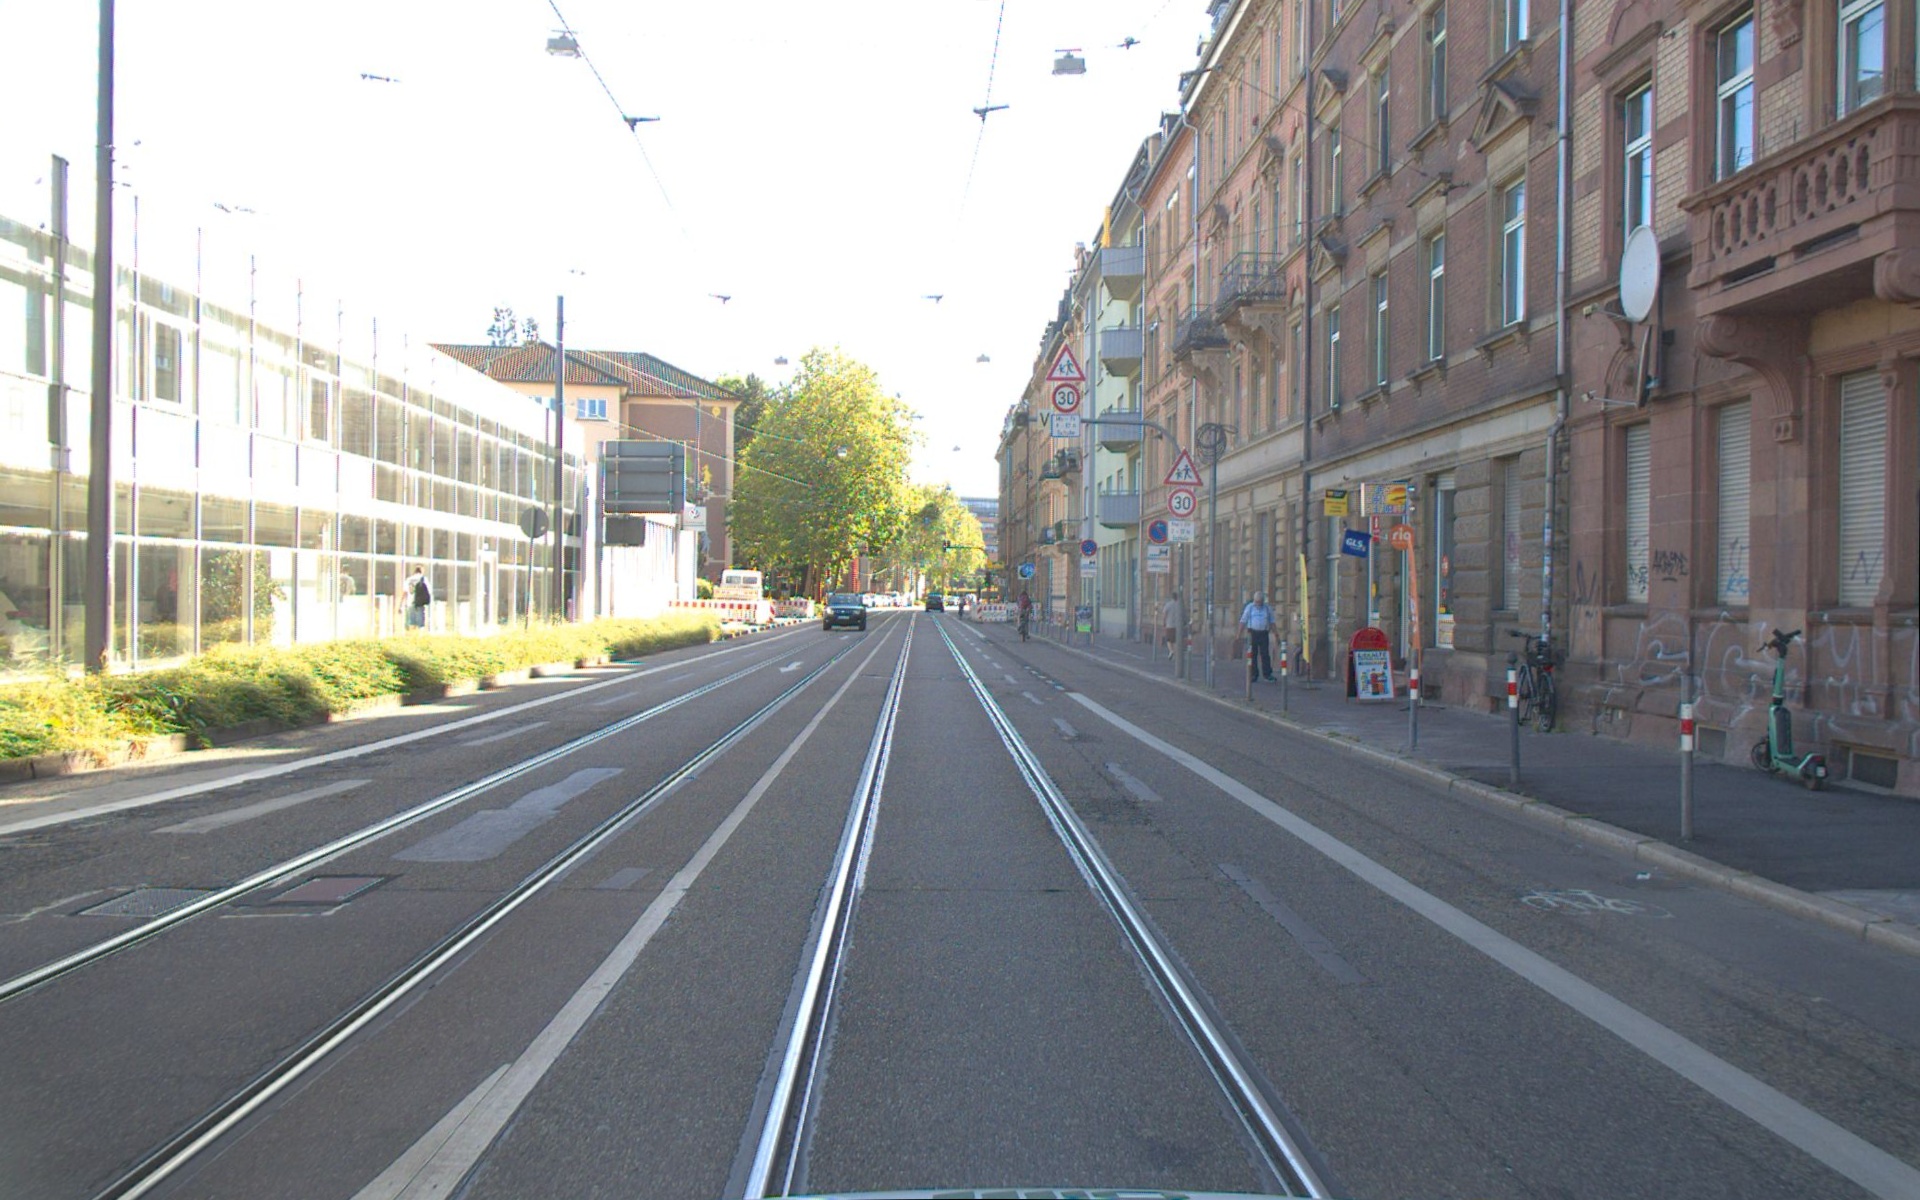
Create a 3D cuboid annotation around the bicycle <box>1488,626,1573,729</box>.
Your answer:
[{"bbox_3d":[6.714,0.891,19.541,0.401,1.141,1.898,-1,-1,3],"label":"bicycle"}]

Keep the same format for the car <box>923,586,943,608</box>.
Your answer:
[{"bbox_3d":[-2.676,-0.284,164.775,1.953,2.049,3.999,2,-1,-1],"label":"car"}]

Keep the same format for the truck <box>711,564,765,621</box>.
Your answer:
[{"bbox_3d":[-12.016,-0.396,89.769,2.489,2.879,6.369,2,-1,-5],"label":"truck"}]

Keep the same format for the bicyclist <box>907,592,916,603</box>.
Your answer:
[{"bbox_3d":[-7.150,-0.363,244.637,1.054,1.452,1.147,2,-1,7],"label":"bicyclist"}]

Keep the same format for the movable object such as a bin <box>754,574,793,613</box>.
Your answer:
[{"bbox_3d":[-13.575,-0.493,120.826,2.446,2.691,5.984,2,0,-4],"label":"movable object such as a bin"}]

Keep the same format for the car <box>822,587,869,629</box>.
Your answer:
[{"bbox_3d":[-4.962,0.347,72.244,1.723,1.726,4.143,2,-1,0],"label":"car"}]

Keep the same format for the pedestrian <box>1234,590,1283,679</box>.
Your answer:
[{"bbox_3d":[5.548,0.642,30.780,0.781,1.633,0.652,1,-1,1],"label":"pedestrian"}]

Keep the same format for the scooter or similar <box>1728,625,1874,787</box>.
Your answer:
[{"bbox_3d":[6.799,0.824,13.437,0.398,1.232,1.480,-1,-1,-1],"label":"scooter or similar"}]

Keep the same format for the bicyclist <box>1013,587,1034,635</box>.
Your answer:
[{"bbox_3d":[2.344,0.408,61.104,0.653,1.726,1.042,2,-1,-2],"label":"bicyclist"}]

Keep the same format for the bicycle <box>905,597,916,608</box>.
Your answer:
[{"bbox_3d":[-7.310,0.383,244.715,1.208,1.600,2.899,2,-1,6],"label":"bicycle"}]

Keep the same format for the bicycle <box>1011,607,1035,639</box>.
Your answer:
[{"bbox_3d":[2.328,0.843,61.106,0.667,1.134,2.706,2,0,-2],"label":"bicycle"}]

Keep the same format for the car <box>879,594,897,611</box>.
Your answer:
[{"bbox_3d":[-9.746,0.355,224.517,2.016,2.088,4.044,2,-1,1],"label":"car"}]

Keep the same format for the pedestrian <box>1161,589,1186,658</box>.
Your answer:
[{"bbox_3d":[5.359,0.588,41.499,0.541,1.730,0.474,-1,-1,2],"label":"pedestrian"}]

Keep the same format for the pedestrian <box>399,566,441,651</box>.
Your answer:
[{"bbox_3d":[-11.759,0.190,36.020,0.516,1.795,1.050,2,-1,-2],"label":"pedestrian"}]
